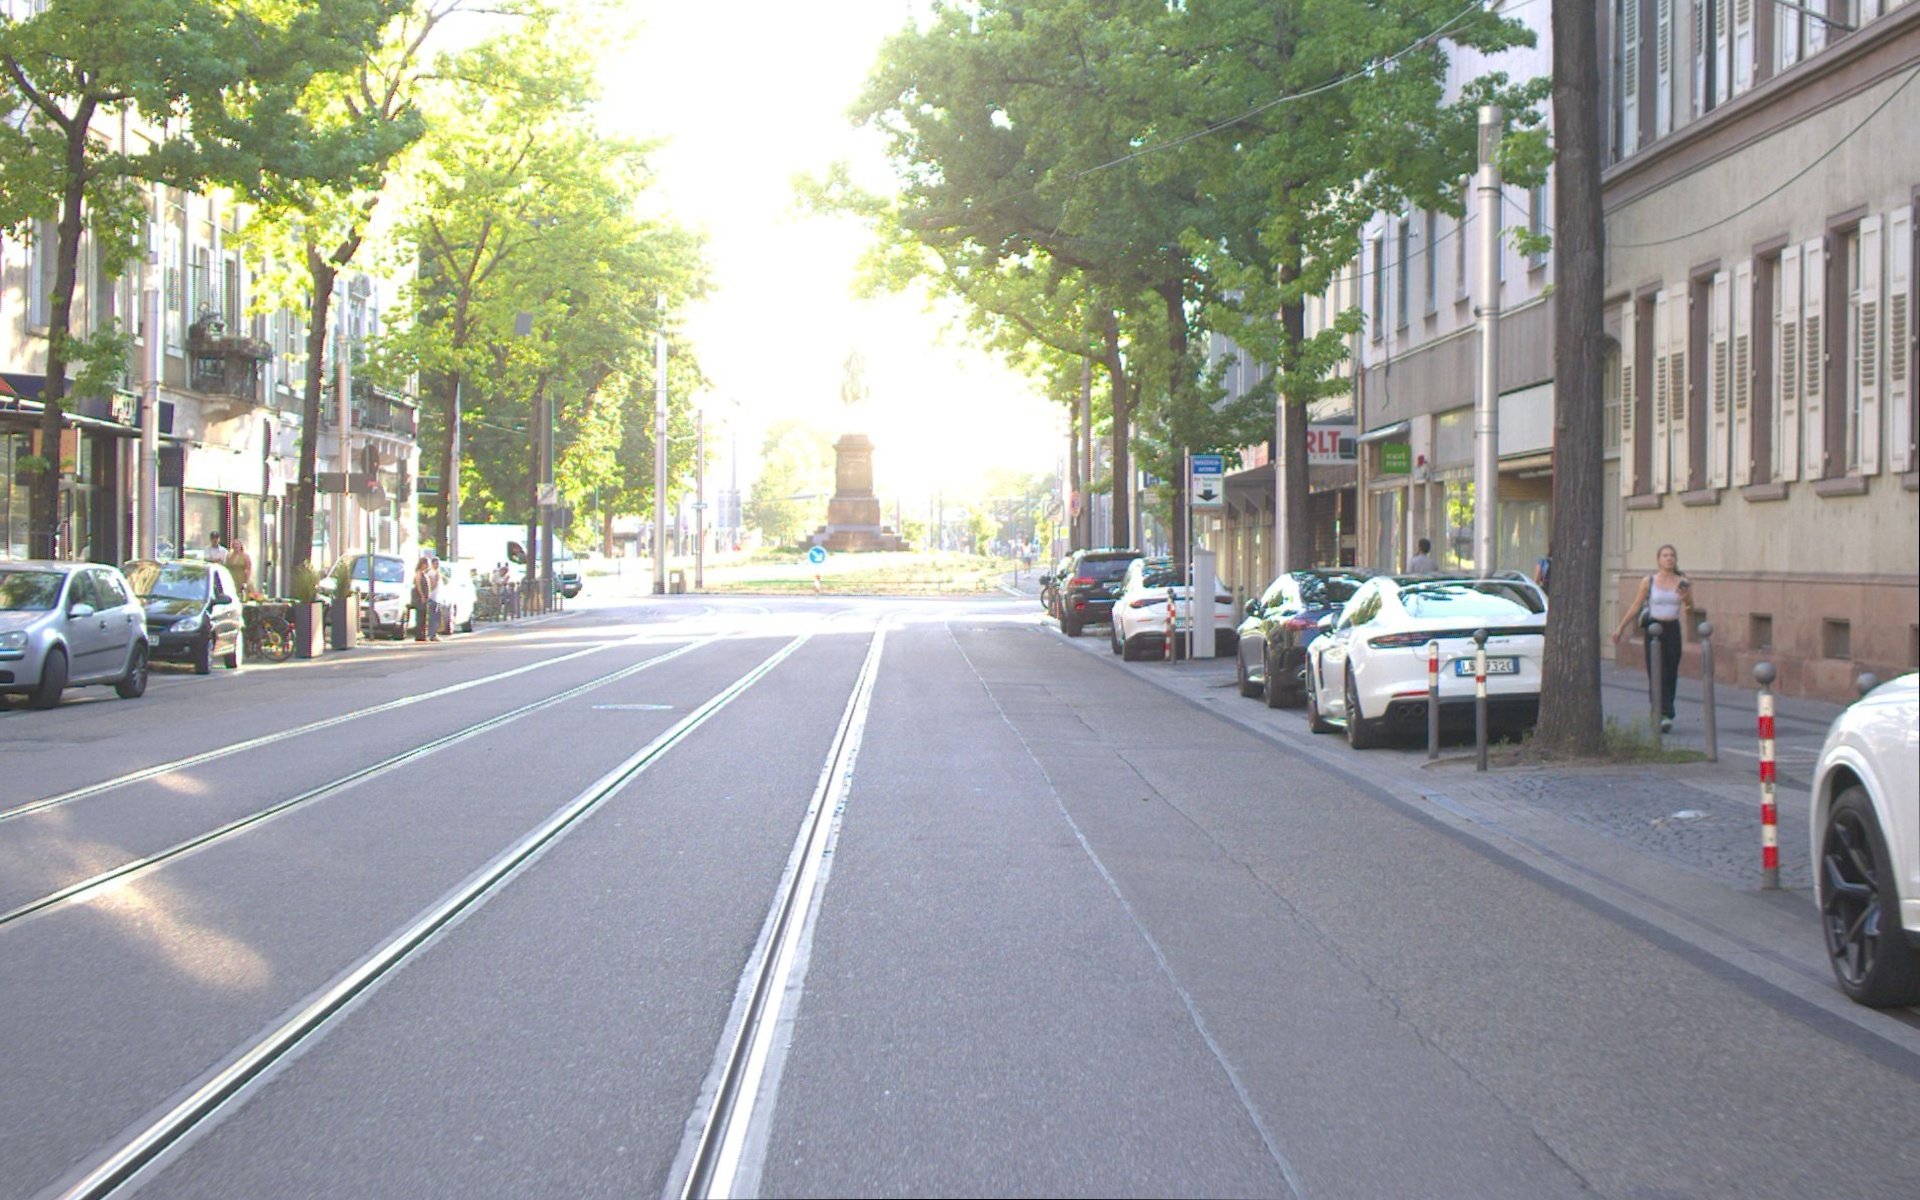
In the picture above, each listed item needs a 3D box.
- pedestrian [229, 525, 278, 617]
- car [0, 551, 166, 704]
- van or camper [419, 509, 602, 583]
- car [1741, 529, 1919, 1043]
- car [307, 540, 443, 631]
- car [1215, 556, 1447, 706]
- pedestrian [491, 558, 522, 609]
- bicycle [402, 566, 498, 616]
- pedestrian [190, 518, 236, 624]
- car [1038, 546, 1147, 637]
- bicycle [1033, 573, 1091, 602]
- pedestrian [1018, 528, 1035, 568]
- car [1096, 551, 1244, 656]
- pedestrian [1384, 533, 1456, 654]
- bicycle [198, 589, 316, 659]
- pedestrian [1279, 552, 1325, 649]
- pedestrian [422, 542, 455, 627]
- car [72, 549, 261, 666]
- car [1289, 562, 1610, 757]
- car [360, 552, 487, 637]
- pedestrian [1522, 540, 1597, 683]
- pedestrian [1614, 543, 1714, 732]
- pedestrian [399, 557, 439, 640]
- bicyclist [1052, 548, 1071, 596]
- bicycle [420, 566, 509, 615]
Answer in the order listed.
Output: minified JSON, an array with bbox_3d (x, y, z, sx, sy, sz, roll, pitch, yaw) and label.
[{"bbox_3d":[-13.510,-0.558,65.776,0.722,1.754,1.090,0,1,-1],"label":"pedestrian"},{"bbox_3d":[-9.768,0.243,35.794,1.767,1.492,4.174,1,0,4],"label":"car"},{"bbox_3d":[-15.338,-1.847,117.073,6.314,2.464,2.610,1,1,40],"label":"van or camper"},{"bbox_3d":[4.159,0.582,10.663,1.997,1.682,4.968,-2,0,-4],"label":"car"},{"bbox_3d":[-11.222,-0.304,66.165,1.836,1.575,4.116,4,1,0],"label":"car"},{"bbox_3d":[3.940,0.284,37.254,1.833,1.473,4.762,-2,1,-2],"label":"car"},{"bbox_3d":[-11.776,-0.438,89.249,0.728,1.286,0.857,1,1,-3],"label":"pedestrian"},{"bbox_3d":[-11.902,-0.212,80.263,2.108,1.101,0.501,2,0,-26],"label":"bicycle"},{"bbox_3d":[-14.291,-0.560,65.775,0.722,2.007,0.643,0,1,-1],"label":"pedestrian"},{"bbox_3d":[2.758,-0.210,72.297,1.938,1.753,4.680,-3,1,-1],"label":"car"},{"bbox_3d":[3.043,-0.365,102.760,1.731,0.861,0.367,0,1,-1],"label":"bicycle"},{"bbox_3d":[2.690,-2.107,138.931,0.636,1.600,0.772,0,1,-3],"label":"pedestrian"},{"bbox_3d":[3.303,0.019,54.964,1.993,1.493,4.680,-3,1,0],"label":"car"},{"bbox_3d":[6.871,-0.100,51.370,0.858,1.747,0.933,-3,1,-1],"label":"pedestrian"},{"bbox_3d":[-10.350,0.351,50.601,1.616,0.962,0.432,2,1,5],"label":"bicycle"},{"bbox_3d":[5.957,0.004,59.949,0.643,1.664,0.786,-3,1,-1],"label":"pedestrian"},{"bbox_3d":[-9.678,-0.284,63.804,0.521,1.564,0.634,0,0,0],"label":"pedestrian"},{"bbox_3d":[-10.629,0.066,46.273,1.665,1.423,3.827,3,1,-1],"label":"car"},{"bbox_3d":[3.999,0.429,28.894,1.912,1.415,4.888,-2,1,0],"label":"car"},{"bbox_3d":[-11.083,-0.144,71.347,1.836,1.575,4.702,4,1,0],"label":"car"},{"bbox_3d":[7.136,0.128,40.968,0.658,1.659,0.888,-2,1,-2],"label":"pedestrian"},{"bbox_3d":[5.927,0.305,28.975,0.649,1.568,0.798,0,1,-1],"label":"pedestrian"},{"bbox_3d":[-9.901,-0.029,62.940,0.620,1.504,0.729,0,0,0],"label":"pedestrian"},{"bbox_3d":[3.026,-0.834,102.763,0.536,1.433,0.367,0,1,-1],"label":"bicyclist"},{"bbox_3d":[-11.959,-0.218,82.955,2.024,1.101,0.501,2,0,2],"label":"bicycle"}]
